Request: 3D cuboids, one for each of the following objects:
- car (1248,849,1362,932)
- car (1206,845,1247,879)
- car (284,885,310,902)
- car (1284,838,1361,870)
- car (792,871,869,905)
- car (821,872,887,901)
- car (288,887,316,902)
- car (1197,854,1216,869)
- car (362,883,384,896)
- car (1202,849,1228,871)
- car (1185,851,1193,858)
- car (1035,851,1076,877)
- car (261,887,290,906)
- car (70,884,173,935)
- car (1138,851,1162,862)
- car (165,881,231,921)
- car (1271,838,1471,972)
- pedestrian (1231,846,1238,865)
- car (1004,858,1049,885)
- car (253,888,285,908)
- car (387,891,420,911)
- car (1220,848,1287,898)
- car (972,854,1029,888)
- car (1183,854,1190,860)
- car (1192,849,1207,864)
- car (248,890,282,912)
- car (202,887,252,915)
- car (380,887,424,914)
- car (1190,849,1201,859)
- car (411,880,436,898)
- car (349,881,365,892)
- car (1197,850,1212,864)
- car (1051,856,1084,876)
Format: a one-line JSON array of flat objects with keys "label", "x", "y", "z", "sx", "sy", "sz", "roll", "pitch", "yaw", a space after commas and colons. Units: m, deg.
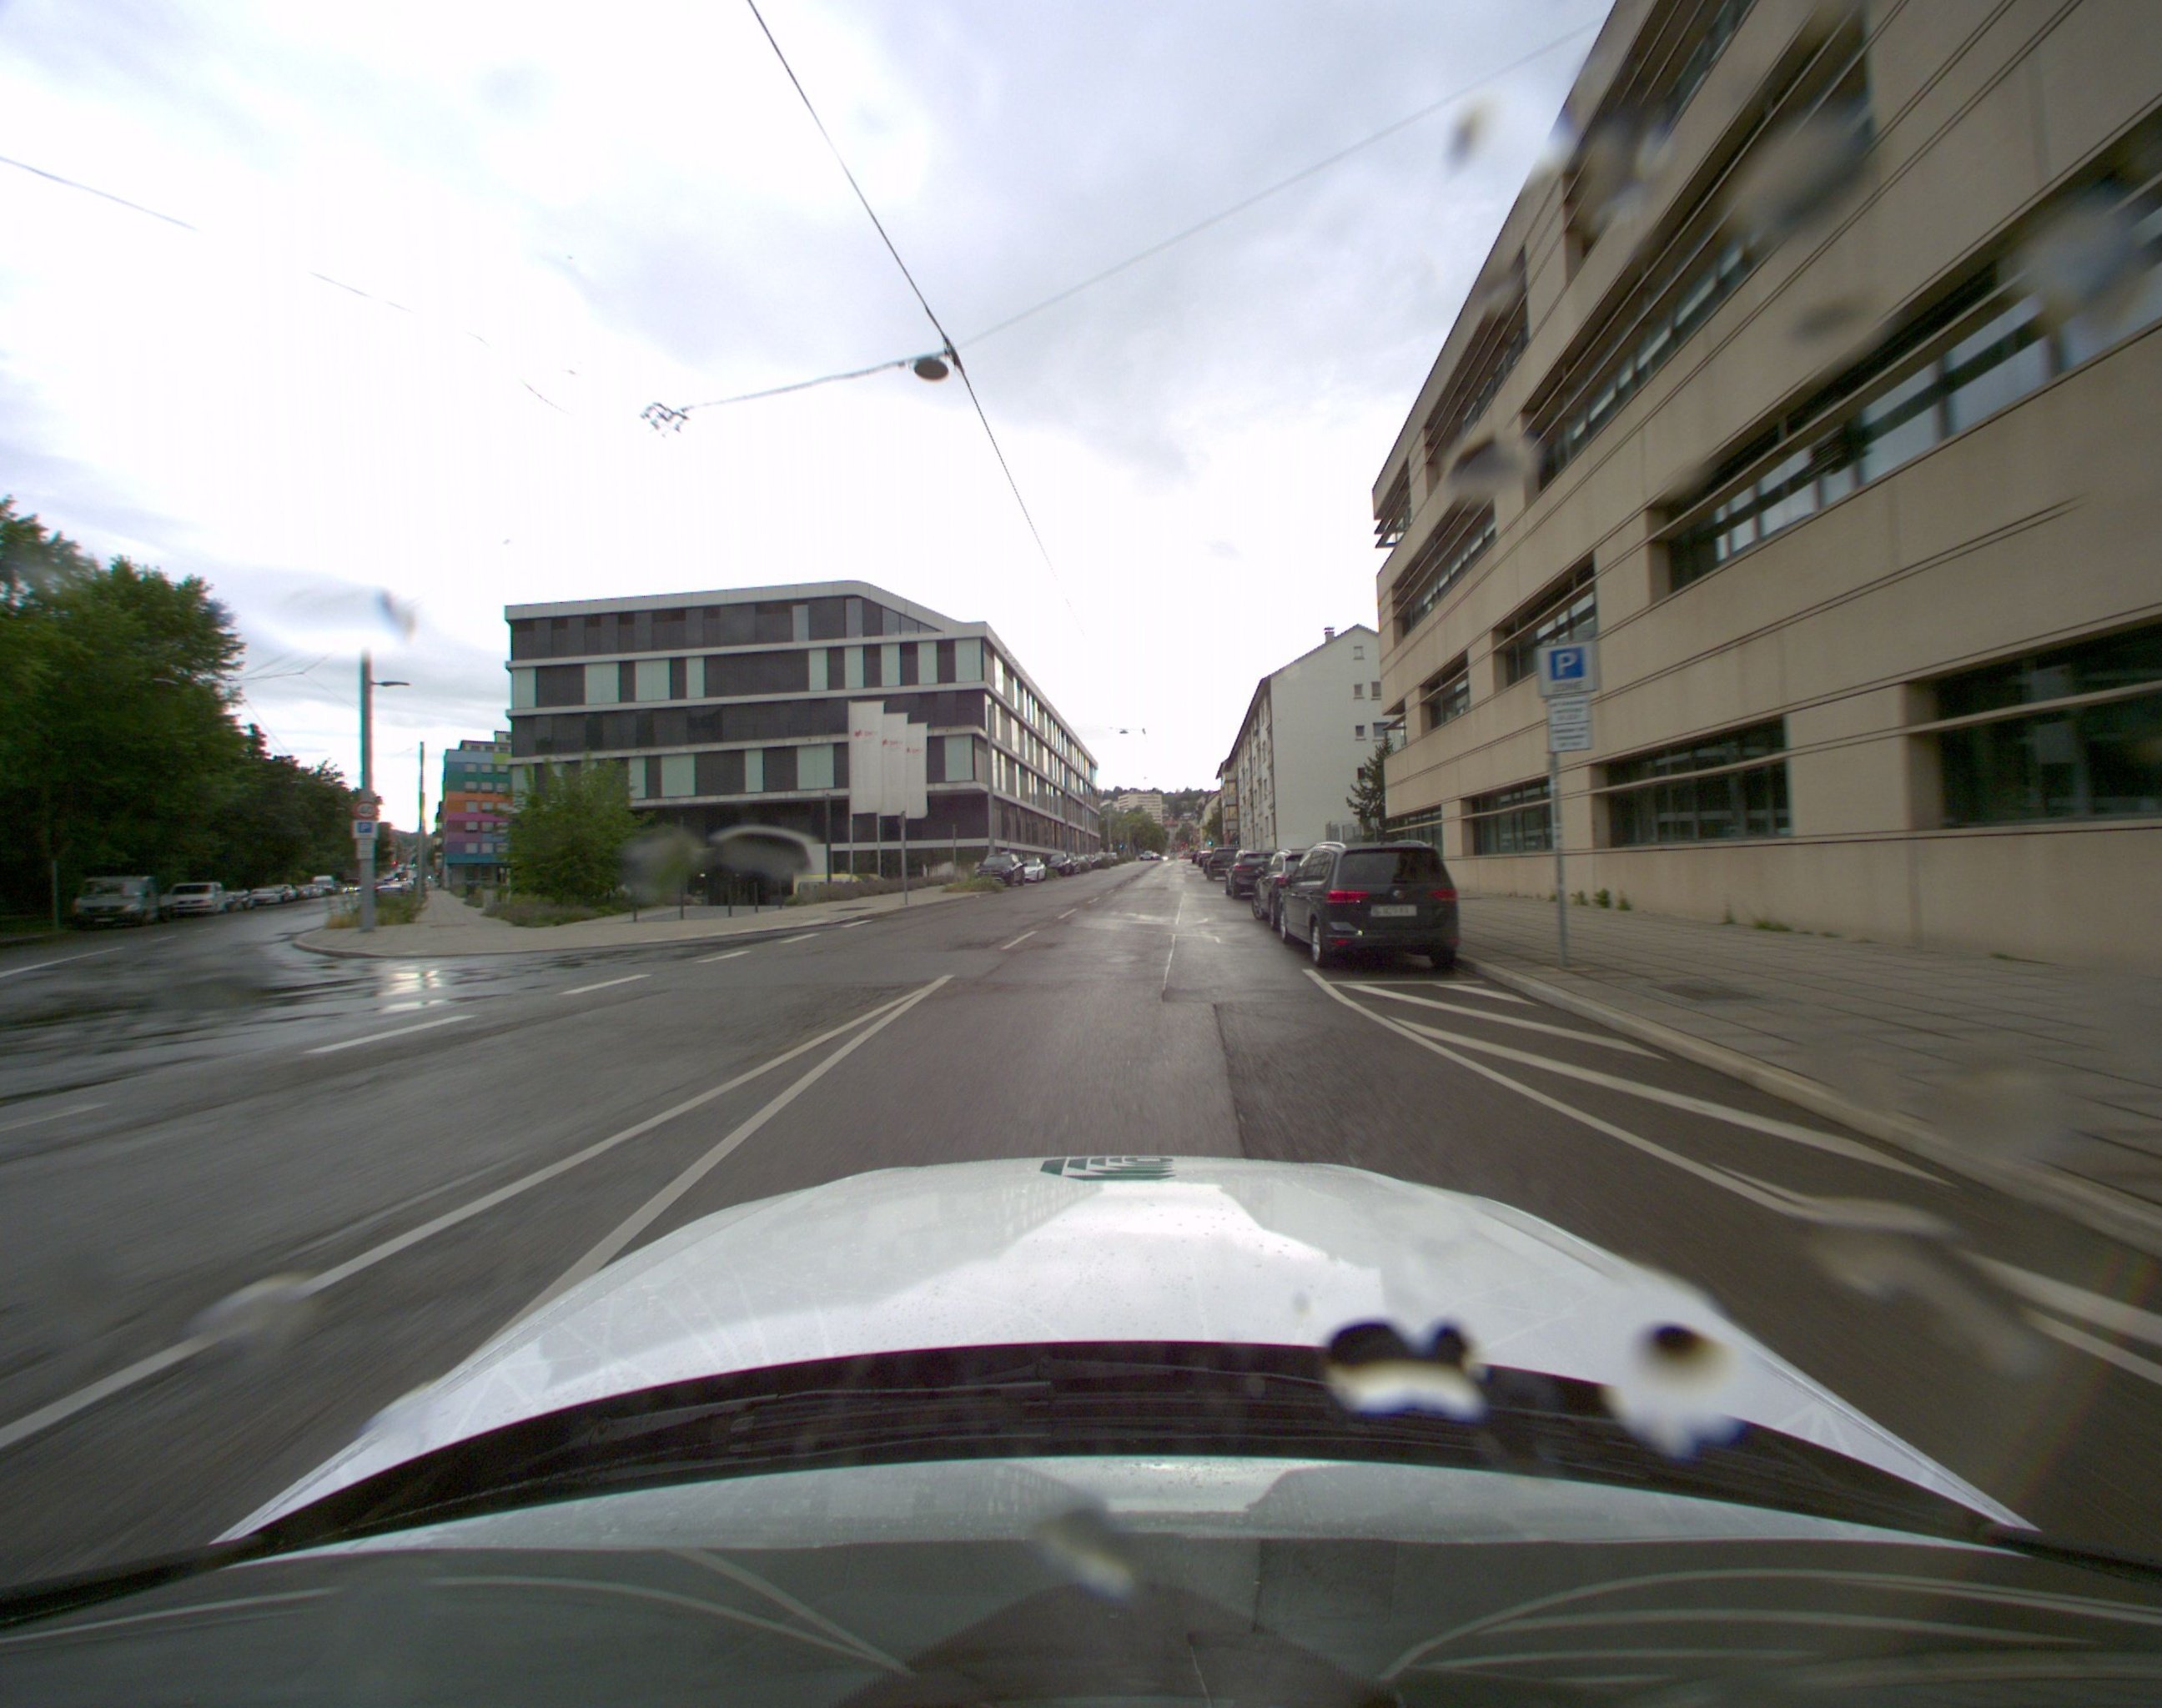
[{"label": "car", "x": 4.567, "y": 0.699, "z": 17.137, "sx": 1.716, "sy": 1.512, "sz": 4.065, "roll": 0, "pitch": -1, "yaw": 6}, {"label": "car", "x": 7.868, "y": 0.432, "z": 44.464, "sx": 1.925, "sy": 1.750, "sz": 4.806, "roll": -1, "pitch": 0, "yaw": 7}, {"label": "car", "x": -80.570, "y": 4.077, "z": 83.734, "sx": 1.756, "sy": 1.607, "sz": 3.850, "roll": 0, "pitch": -1, "yaw": -42}, {"label": "car", "x": 15.495, "y": 0.006, "z": 52.455, "sx": 4.416, "sy": 1.712, "sz": 1.908, "roll": -5, "pitch": -1, "yaw": 6}, {"label": "car", "x": -16.889, "y": 2.269, "z": 55.035, "sx": 4.574, "sy": 2.174, "sz": 1.931, "roll": -1, "pitch": -1, "yaw": 1}, {"label": "car", "x": -16.426, "y": 2.333, "z": 59.050, "sx": 4.319, "sy": 2.032, "sz": 1.601, "roll": -1, "pitch": -1, "yaw": 6}, {"label": "car", "x": -88.970, "y": 4.593, "z": 93.044, "sx": 2.010, "sy": 1.526, "sz": 3.953, "roll": 0, "pitch": -1, "yaw": -40}, {"label": "car", "x": 12.128, "y": 0.727, "z": 78.803, "sx": 1.697, "sy": 1.454, "sz": 3.992, "roll": -1, "pitch": 0, "yaw": 7}, {"label": "car", "x": -97.248, "y": 4.818, "z": 111.899, "sx": 2.009, "sy": 1.660, "sz": 3.955, "roll": 0, "pitch": -1, "yaw": -37}, {"label": "car", "x": 9.677, "y": 0.439, "z": 59.104, "sx": 1.664, "sy": 1.459, "sz": 3.771, "roll": -1, "pitch": 1, "yaw": 6}, {"label": "car", "x": 29.262, "y": 0.138, "z": 220.308, "sx": 1.855, "sy": 1.604, "sz": 4.201, "roll": -1, "pitch": -1, "yaw": 10}, {"label": "car", "x": -1.755, "y": 0.659, "z": 57.873, "sx": 1.951, "sy": 1.750, "sz": 4.954, "roll": -1, "pitch": 0, "yaw": 9}, {"label": "car", "x": -74.717, "y": 3.915, "z": 75.582, "sx": 1.756, "sy": 1.607, "sz": 3.850, "roll": 0, "pitch": -1, "yaw": -42}, {"label": "car", "x": -43.313, "y": 2.453, "z": 36.881, "sx": 2.086, "sy": 2.043, "sz": 4.231, "roll": 0, "pitch": -1, "yaw": -37}, {"label": "car", "x": 12.445, "y": 0.410, "z": 147.396, "sx": 1.650, "sy": 1.669, "sz": 4.153, "roll": 3, "pitch": -6, "yaw": -44}, {"label": "car", "x": -51.676, "y": 2.693, "z": 47.751, "sx": 2.181, "sy": 2.097, "sz": 4.779, "roll": 0, "pitch": -1, "yaw": -42}, {"label": "car", "x": 4.021, "y": 0.631, "z": 12.068, "sx": 1.762, "sy": 1.604, "sz": 4.401, "roll": -1, "pitch": 0, "yaw": 5}, {"label": "pedestrian", "x": 15.285, "y": 0.173, "z": 81.339, "sx": 0.635, "sy": 1.870, "sz": 0.540, "roll": -1, "pitch": -1, "yaw": 8}, {"label": "car", "x": -3.146, "y": 0.994, "z": 47.796, "sx": 1.811, "sy": 1.419, "sz": 4.411, "roll": -1, "pitch": 0, "yaw": 7}, {"label": "car", "x": -70.509, "y": 3.807, "z": 70.787, "sx": 1.756, "sy": 1.607, "sz": 3.850, "roll": 0, "pitch": -1, "yaw": -42}, {"label": "car", "x": -49.394, "y": 3.397, "z": 59.416, "sx": 1.487, "sy": 1.241, "sz": 3.364, "roll": -1, "pitch": -1, "yaw": -35}, {"label": "car", "x": 5.763, "y": 0.612, "z": 27.671, "sx": 1.734, "sy": 1.533, "sz": 4.326, "roll": -1, "pitch": 0, "yaw": 5}, {"label": "car", "x": -3.996, "y": 0.816, "z": 41.135, "sx": 1.839, "sy": 1.617, "sz": 4.500, "roll": -1, "pitch": 0, "yaw": 7}, {"label": "car", "x": 29.617, "y": 0.852, "z": 228.499, "sx": 1.855, "sy": 1.604, "sz": 4.201, "roll": -1, "pitch": -1, "yaw": 10}, {"label": "car", "x": 14.360, "y": 0.304, "z": 99.184, "sx": 1.646, "sy": 1.738, "sz": 4.187, "roll": -1, "pitch": 0, "yaw": 7}, {"label": "car", "x": -67.393, "y": 3.836, "z": 67.287, "sx": 1.756, "sy": 1.607, "sz": 3.819, "roll": 0, "pitch": -1, "yaw": -42}, {"label": "car", "x": -55.628, "y": 3.046, "z": 53.100, "sx": 1.941, "sy": 1.607, "sz": 4.228, "roll": 0, "pitch": -1, "yaw": -42}, {"label": "car", "x": -40.104, "y": 2.714, "z": 48.168, "sx": 1.675, "sy": 1.450, "sz": 3.827, "roll": -1, "pitch": -1, "yaw": -35}, {"label": "car", "x": 21.157, "y": 0.035, "z": 150.582, "sx": 1.855, "sy": 1.770, "sz": 4.201, "roll": -1, "pitch": -1, "yaw": 10}, {"label": "car", "x": -58.044, "y": 3.060, "z": 71.948, "sx": 1.448, "sy": 1.494, "sz": 3.600, "roll": -2, "pitch": 0, "yaw": -35}, {"label": "car", "x": -110.988, "y": 4.909, "z": 124.859, "sx": 1.756, "sy": 1.607, "sz": 3.850, "roll": 0, "pitch": -1, "yaw": -42}, {"label": "car", "x": 14.044, "y": 0.347, "z": 92.814, "sx": 1.626, "sy": 1.571, "sz": 3.718, "roll": -1, "pitch": 0, "yaw": 7}, {"label": "car", "x": -1.022, "y": 0.905, "z": 63.786, "sx": 1.861, "sy": 1.473, "sz": 4.750, "roll": -1, "pitch": 0, "yaw": 7}]
